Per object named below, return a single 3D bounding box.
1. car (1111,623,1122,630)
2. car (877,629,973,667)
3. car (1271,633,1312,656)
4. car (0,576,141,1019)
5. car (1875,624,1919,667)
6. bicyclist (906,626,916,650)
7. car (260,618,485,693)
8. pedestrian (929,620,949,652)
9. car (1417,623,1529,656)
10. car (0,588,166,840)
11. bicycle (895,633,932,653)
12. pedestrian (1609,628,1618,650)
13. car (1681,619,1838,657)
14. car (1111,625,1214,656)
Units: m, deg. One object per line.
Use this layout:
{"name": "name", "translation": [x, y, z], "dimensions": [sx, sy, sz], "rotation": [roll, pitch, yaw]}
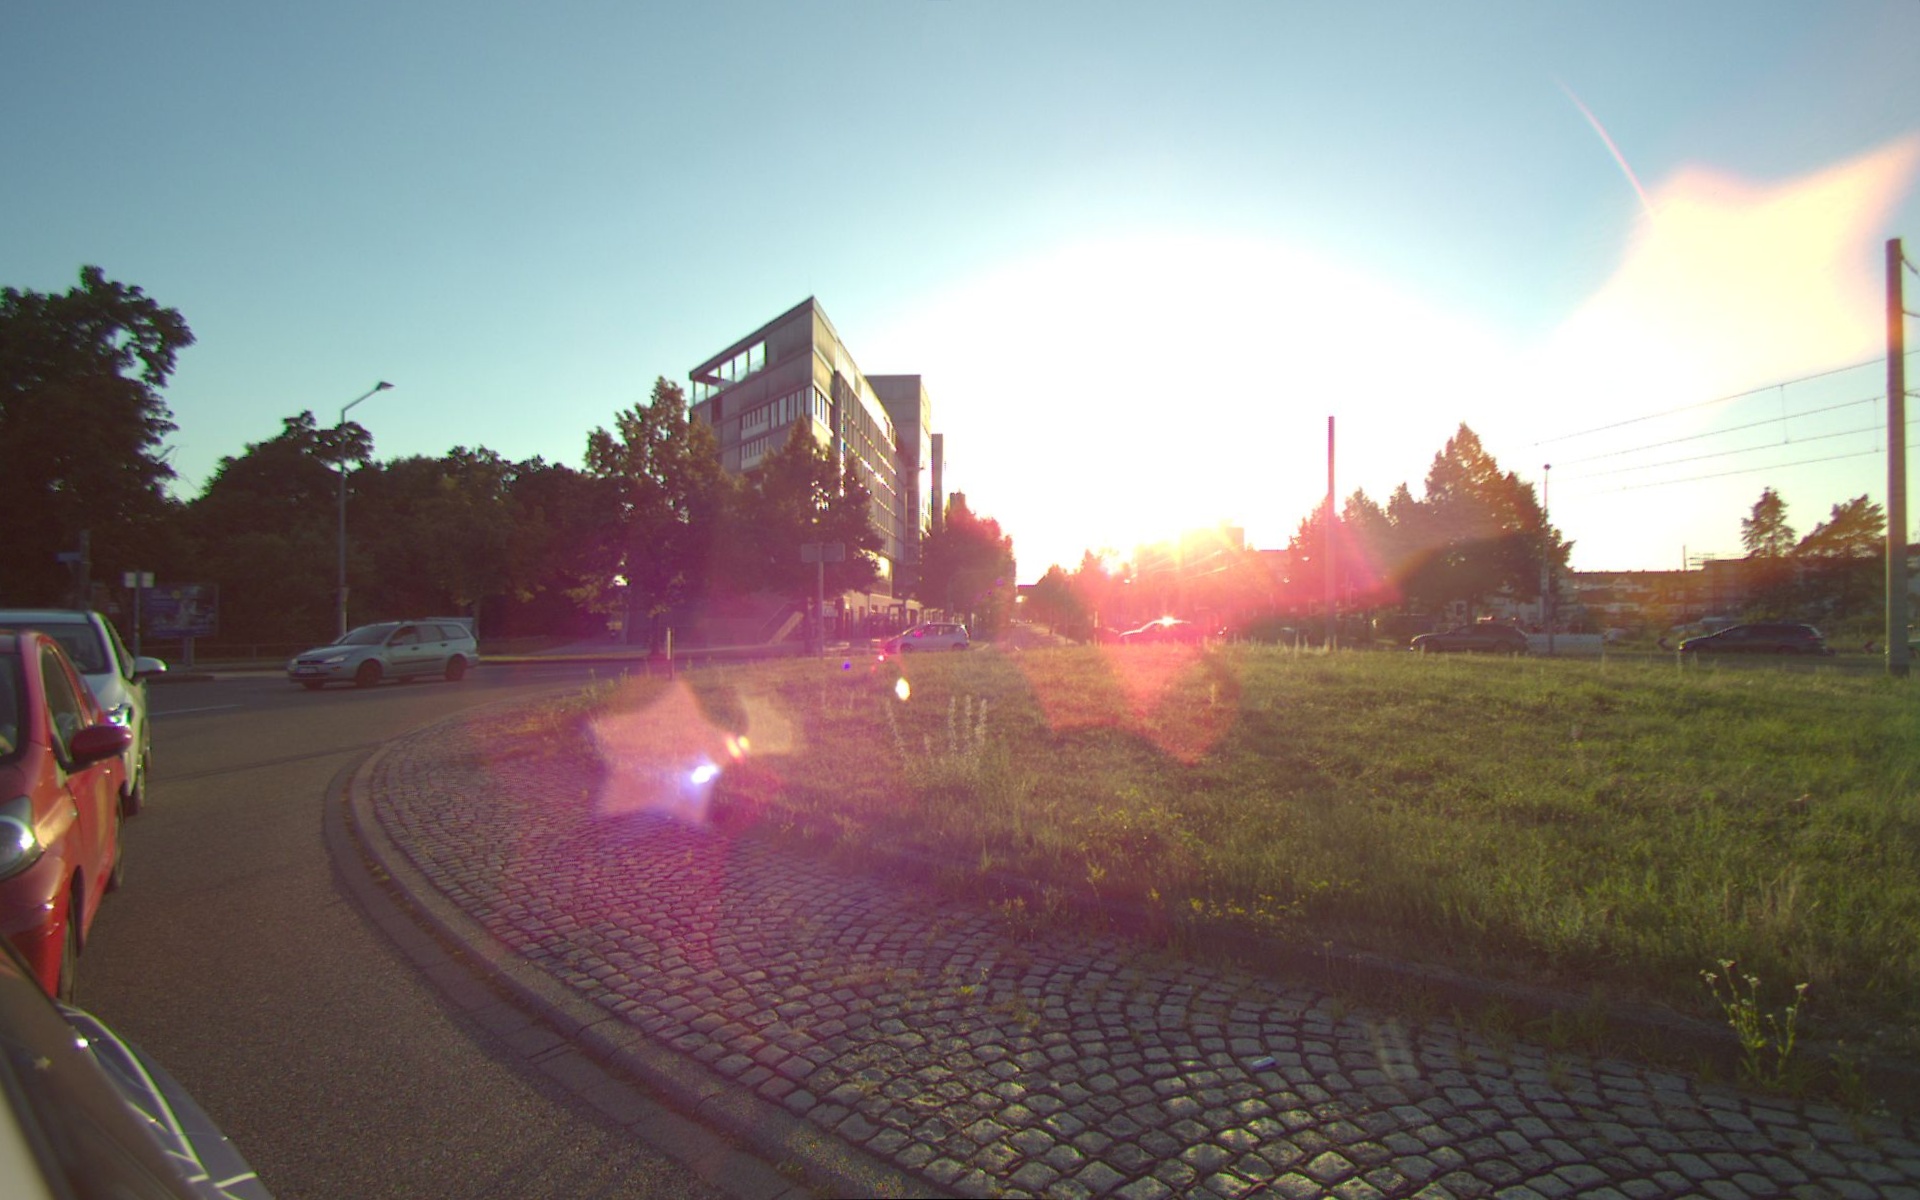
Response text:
{"name": "car", "translation": [37.528, 6.341, 242.535], "dimensions": [1.972, 1.737, 4.000], "rotation": [-1, 0, 0]}
{"name": "car", "translation": [-1.560, 2.101, 45.214], "dimensions": [3.825, 1.592, 1.961], "rotation": [0, -1, -22]}
{"name": "car", "translation": [25.749, 3.412, 78.692], "dimensions": [1.973, 1.663, 3.997], "rotation": [0, -1, 2]}
{"name": "car", "translation": [-4.812, 0.672, 4.502], "dimensions": [1.662, 1.431, 4.009], "rotation": [1, -2, -37]}
{"name": "car", "translation": [37.012, 1.692, 37.288], "dimensions": [1.966, 1.591, 4.498], "rotation": [1, -1, -32]}
{"name": "bicyclist", "translation": [-3.063, 2.355, 62.981], "dimensions": [0.602, 1.451, 0.692], "rotation": [0, -1, -2]}
{"name": "car", "translation": [-13.518, 1.215, 23.659], "dimensions": [1.818, 1.571, 4.542], "rotation": [-1, -1, 17]}
{"name": "pedestrian", "translation": [-1.340, 2.309, 64.618], "dimensions": [0.995, 2.029, 0.768], "rotation": [-1, 0, 29]}
{"name": "car", "translation": [22.782, 1.750, 44.953], "dimensions": [4.335, 1.386, 1.979], "rotation": [-1, -1, 31]}
{"name": "car", "translation": [-7.675, 0.773, 8.012], "dimensions": [1.969, 1.618, 4.204], "rotation": [1, -2, -41]}
{"name": "bicycle", "translation": [-2.883, 2.679, 62.959], "dimensions": [2.315, 1.254, 0.742], "rotation": [0, -1, 0]}
{"name": "pedestrian", "translation": [38.876, 2.309, 60.209], "dimensions": [0.397, 1.317, 0.423], "rotation": [-1, -2, 41]}
{"name": "car", "translation": [30.321, 1.412, 38.483], "dimensions": [1.969, 1.386, 4.390], "rotation": [1, -2, -42]}
{"name": "car", "translation": [9.558, 1.915, 47.943], "dimensions": [4.315, 1.386, 2.003], "rotation": [0, -1, -8]}
